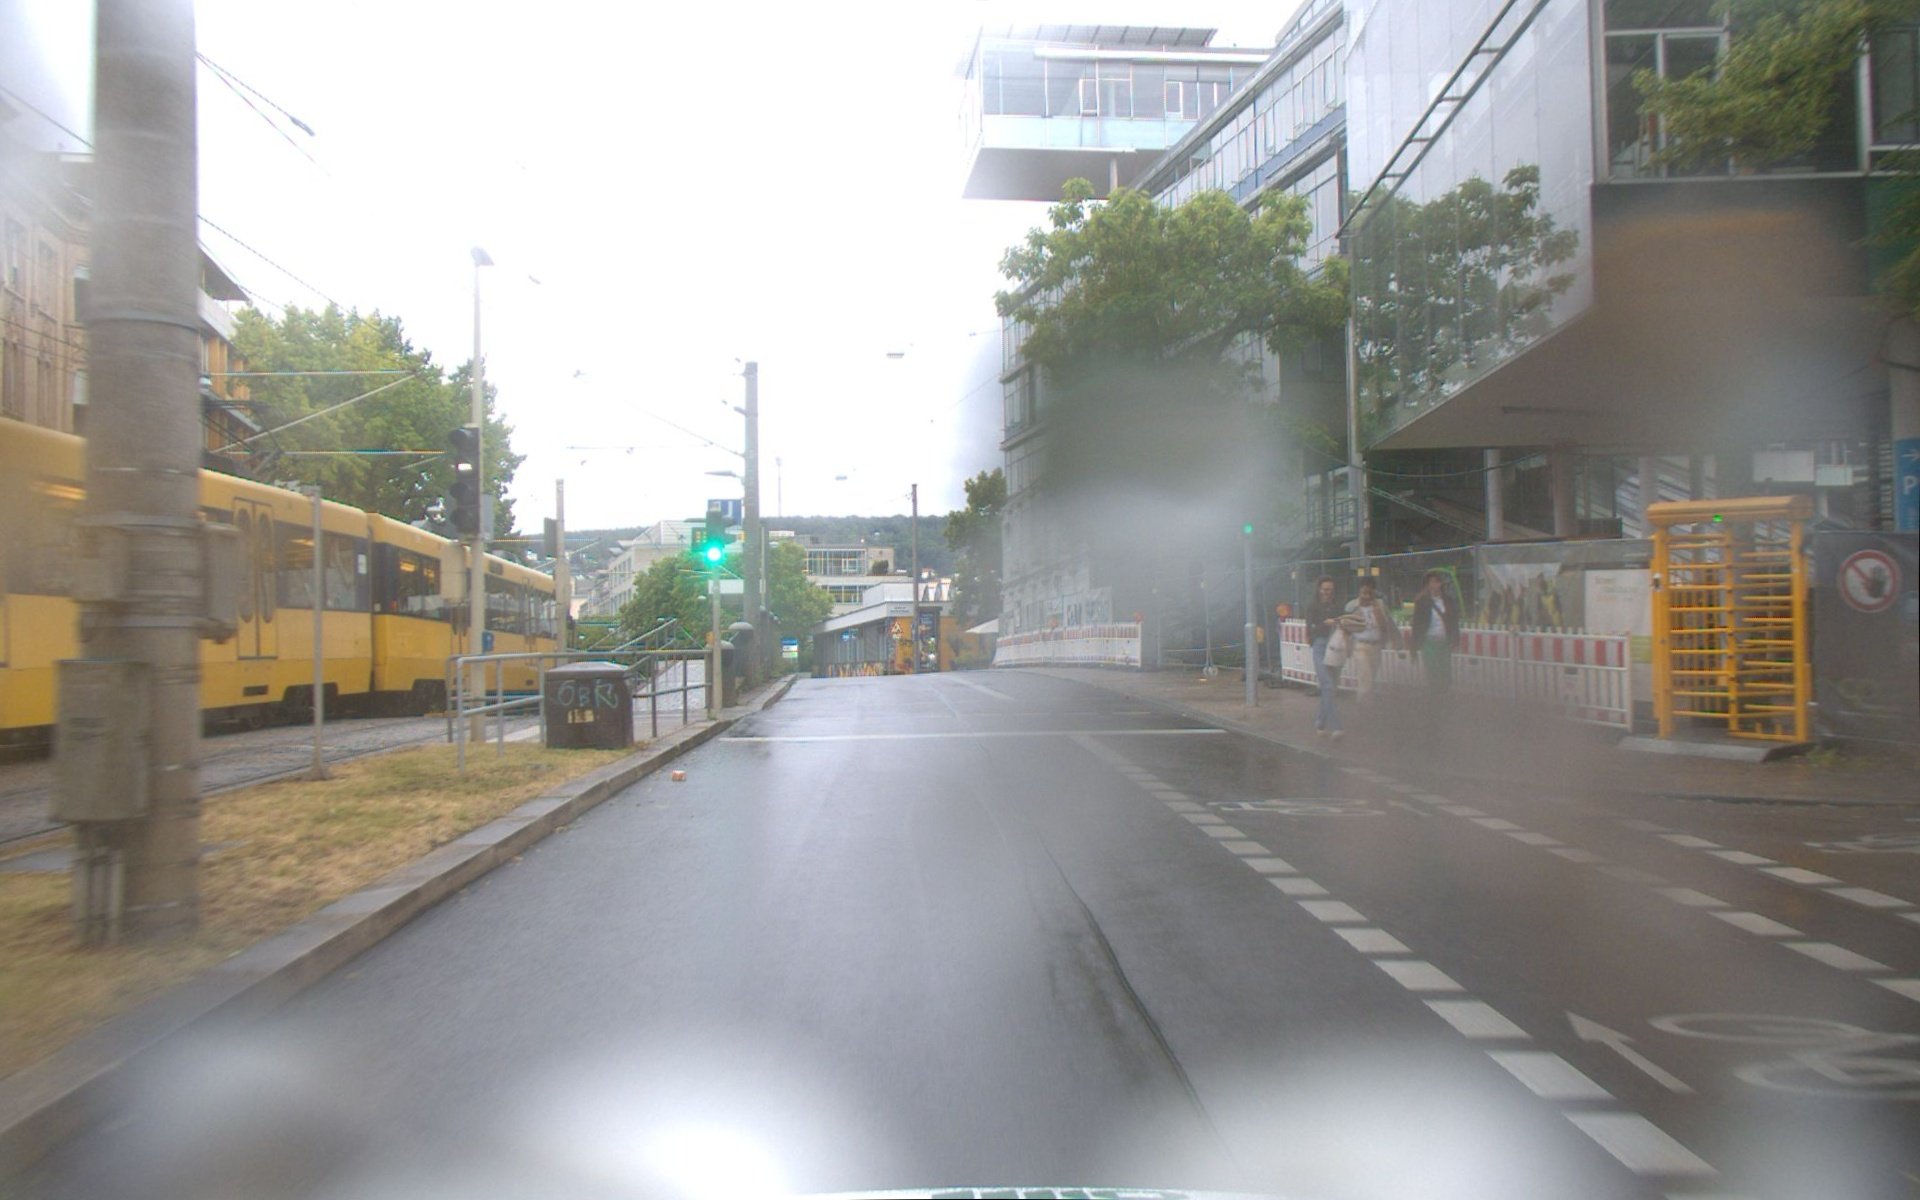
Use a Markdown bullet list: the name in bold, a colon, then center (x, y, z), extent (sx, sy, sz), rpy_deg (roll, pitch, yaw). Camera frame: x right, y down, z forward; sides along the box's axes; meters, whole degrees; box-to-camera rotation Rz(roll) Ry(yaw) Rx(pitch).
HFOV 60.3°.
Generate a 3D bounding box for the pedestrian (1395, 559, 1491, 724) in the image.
- **pedestrian**: center (5.506, 0.460, 18.909), extent (0.686, 1.816, 1.066), rpy_deg (-1, 0, -5)

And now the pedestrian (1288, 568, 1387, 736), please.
- **pedestrian**: center (4.100, 0.547, 18.027), extent (0.722, 1.760, 1.117), rpy_deg (-1, 0, -5)

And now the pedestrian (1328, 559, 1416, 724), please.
- **pedestrian**: center (4.765, 0.466, 19.165), extent (0.686, 1.847, 0.976), rpy_deg (-1, 0, -5)

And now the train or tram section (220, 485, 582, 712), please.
- **train or tram section**: center (-11.492, 0.146, 37.084), extent (2.691, 3.762, 18.956), rpy_deg (-1, -1, -3)

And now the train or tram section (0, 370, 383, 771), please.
- **train or tram section**: center (-10.490, -0.210, 18.134), extent (2.691, 3.762, 18.956), rpy_deg (-1, -1, -3)
